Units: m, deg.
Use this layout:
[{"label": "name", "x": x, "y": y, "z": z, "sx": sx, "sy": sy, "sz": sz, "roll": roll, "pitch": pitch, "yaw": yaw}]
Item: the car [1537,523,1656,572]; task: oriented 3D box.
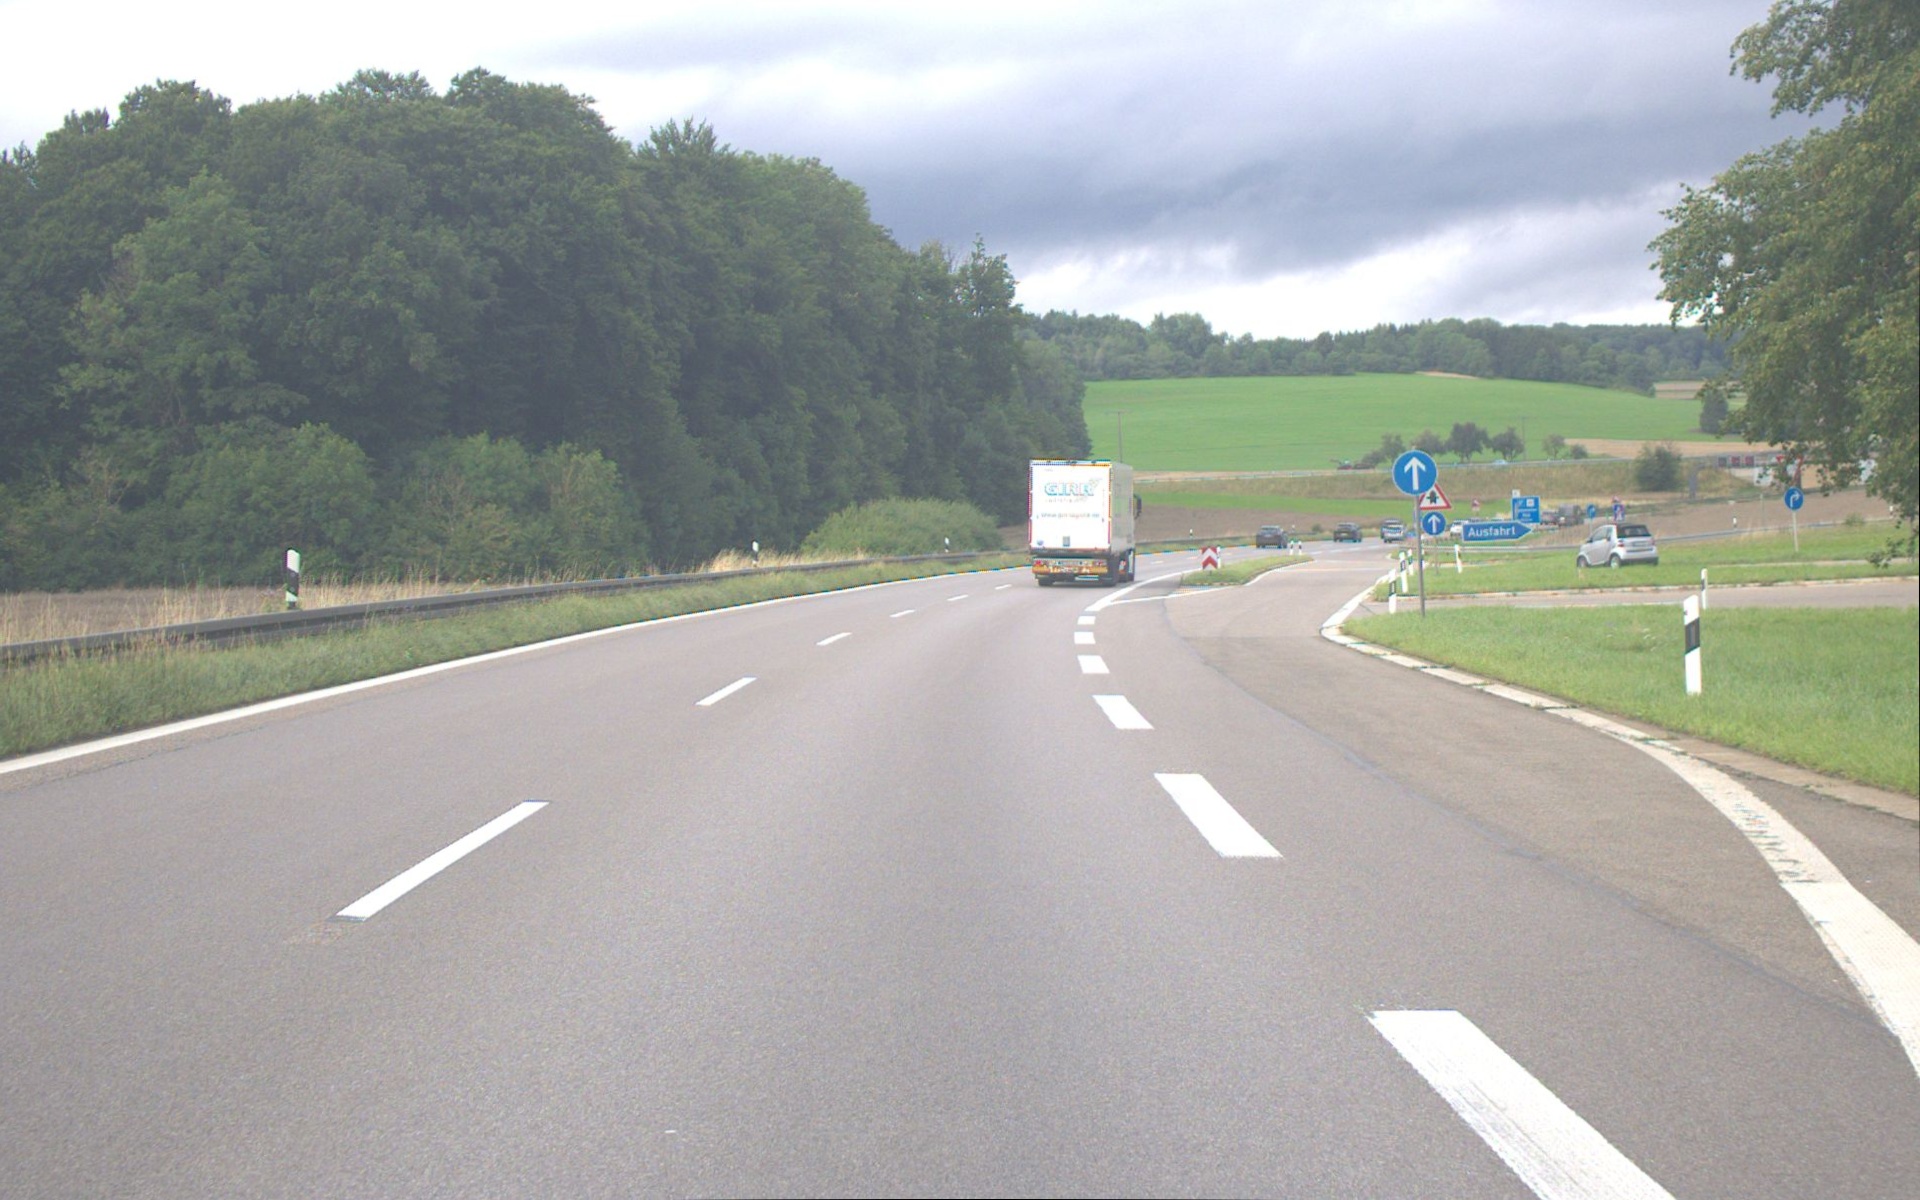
[{"label": "car", "x": 20.977, "y": -1.748, "z": 113.403, "sx": 1.777, "sy": 1.546, "sz": 4.001, "roll": -2, "pitch": 2, "yaw": -27}]

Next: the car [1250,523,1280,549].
[{"label": "car", "x": 21.963, "y": -4.575, "z": 247.403, "sx": 1.903, "sy": 1.789, "sz": 3.998, "roll": 0, "pitch": 0, "yaw": 9}]

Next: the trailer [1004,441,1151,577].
[{"label": "trailer", "x": 4.007, "y": -2.940, "z": 112.908, "sx": 3.806, "sy": 4.160, "sz": 14.805, "roll": 0, "pitch": 1, "yaw": 6}]

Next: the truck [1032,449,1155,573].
[{"label": "truck", "x": 4.733, "y": -3.101, "z": 120.248, "sx": 3.788, "sy": 4.117, "sz": 8.263, "roll": 1, "pitch": 1, "yaw": 5}]
